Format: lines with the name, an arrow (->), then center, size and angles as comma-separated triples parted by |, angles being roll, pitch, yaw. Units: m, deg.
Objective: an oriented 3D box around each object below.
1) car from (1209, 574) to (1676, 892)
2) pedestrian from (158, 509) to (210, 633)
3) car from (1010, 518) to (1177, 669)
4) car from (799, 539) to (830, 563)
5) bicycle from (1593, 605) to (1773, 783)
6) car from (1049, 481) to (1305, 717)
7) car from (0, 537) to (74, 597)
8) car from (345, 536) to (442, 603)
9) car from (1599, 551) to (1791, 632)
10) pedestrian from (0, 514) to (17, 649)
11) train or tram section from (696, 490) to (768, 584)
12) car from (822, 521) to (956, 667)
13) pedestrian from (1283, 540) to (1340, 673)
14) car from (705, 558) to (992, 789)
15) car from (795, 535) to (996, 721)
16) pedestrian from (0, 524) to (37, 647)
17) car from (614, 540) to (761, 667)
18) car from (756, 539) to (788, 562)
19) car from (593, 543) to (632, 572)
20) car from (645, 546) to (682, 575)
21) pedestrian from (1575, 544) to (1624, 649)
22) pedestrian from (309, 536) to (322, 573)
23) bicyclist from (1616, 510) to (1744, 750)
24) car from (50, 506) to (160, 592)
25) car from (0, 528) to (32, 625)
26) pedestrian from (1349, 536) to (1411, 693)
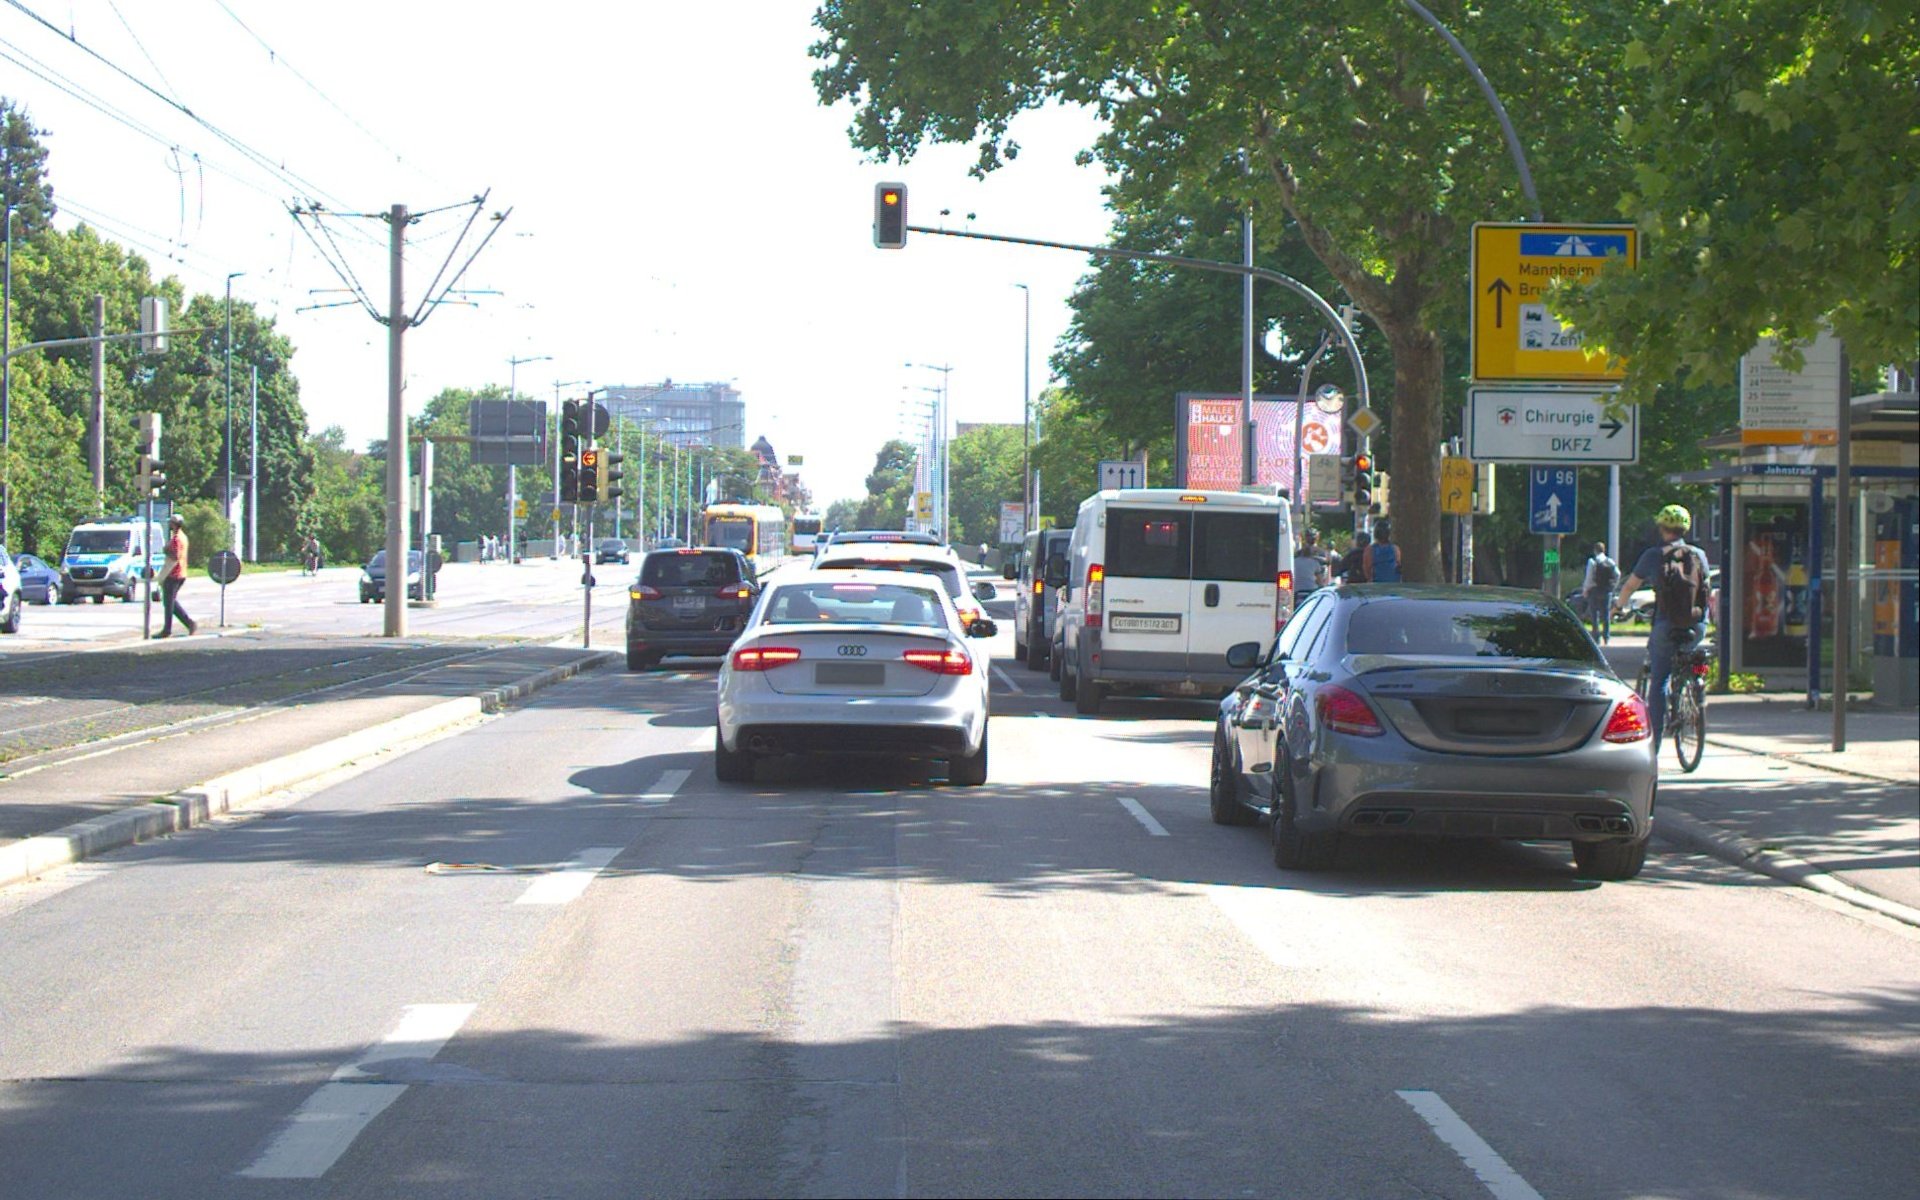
car -> 2.385, 0.603, 17.966 | 1.782, 1.415, 4.000 | 1, 1, -1
pedestrian -> -12.211, -0.457, 54.125 | 0.624, 1.911, 0.690 | 1, 1, -1
car -> 1.832, -0.115, 48.334 | 2.072, 1.992, 4.058 | 1, 1, -1
car -> -10.093, -3.409, 238.353 | 1.871, 1.603, 4.000 | 1, 1, 1
bicycle -> 5.077, 0.633, 24.274 | 0.714, 1.144, 2.178 | -1, 1, -2
car -> 2.133, -0.037, 35.023 | 2.230, 2.204, 4.162 | 1, 1, -1
car -> -24.775, -0.889, 90.658 | 1.830, 1.514, 3.946 | 1, 1, -1
car -> -15.426, -0.839, 93.766 | 1.993, 1.728, 4.000 | 1, 1, -1
car -> 16.028, -0.191, 75.071 | 3.777, 1.666, 1.793 | 1, 1, 0
pedestrian -> -12.653, -0.252, 44.163 | 0.775, 1.728, 0.754 | 1, 1, 8
train or tram section -> -10.000, -2.750, 151.211 | 2.616, 4.001, 7.749 | 1, 1, -1
car -> -0.967, -0.108, 47.398 | 1.729, 1.895, 4.000 | 1, 1, -1
pedestrian -> 4.552, 0.079, 44.520 | 0.602, 1.689, 0.953 | -1, 1, -1
car -> -0.737, 0.444, 23.732 | 1.784, 1.416, 3.885 | 1, 1, -1
car -> -0.597, 0.219, 32.200 | 1.729, 1.599, 3.885 | 1, 1, -1
pedestrian -> -12.474, -0.195, 44.925 | 0.537, 1.592, 0.577 | 2, 1, 18
car -> -3.697, 0.015, 47.233 | 1.729, 1.625, 4.000 | 1, 1, -1
car -> -13.053, -3.429, 238.369 | 1.871, 1.603, 4.000 | 1, 1, 1
car -> -20.065, -2.464, 198.564 | 1.993, 1.636, 4.000 | 1, 1, -2
car -> -17.759, -2.381, 206.308 | 1.993, 1.636, 4.000 | 1, 1, -2
pedestrian -> 11.083, -0.066, 59.570 | 0.778, 1.782, 0.763 | 1, 1, 12
pedestrian -> -27.088, -1.901, 144.491 | 0.420, 1.544, 0.552 | 1, 1, 0
bicyclist -> 5.049, 0.200, 24.157 | 0.634, 1.642, 0.979 | -1, 1, -2
car -> -24.274, -1.451, 97.711 | 2.114, 2.374, 4.000 | 1, 1, -1
car -> -16.836, -0.412, 57.194 | 1.763, 1.603, 3.860 | 1, 1, -1
pedestrian -> 5.255, 0.177, 43.053 | 0.635, 1.939, 0.719 | 1, 1, -1
